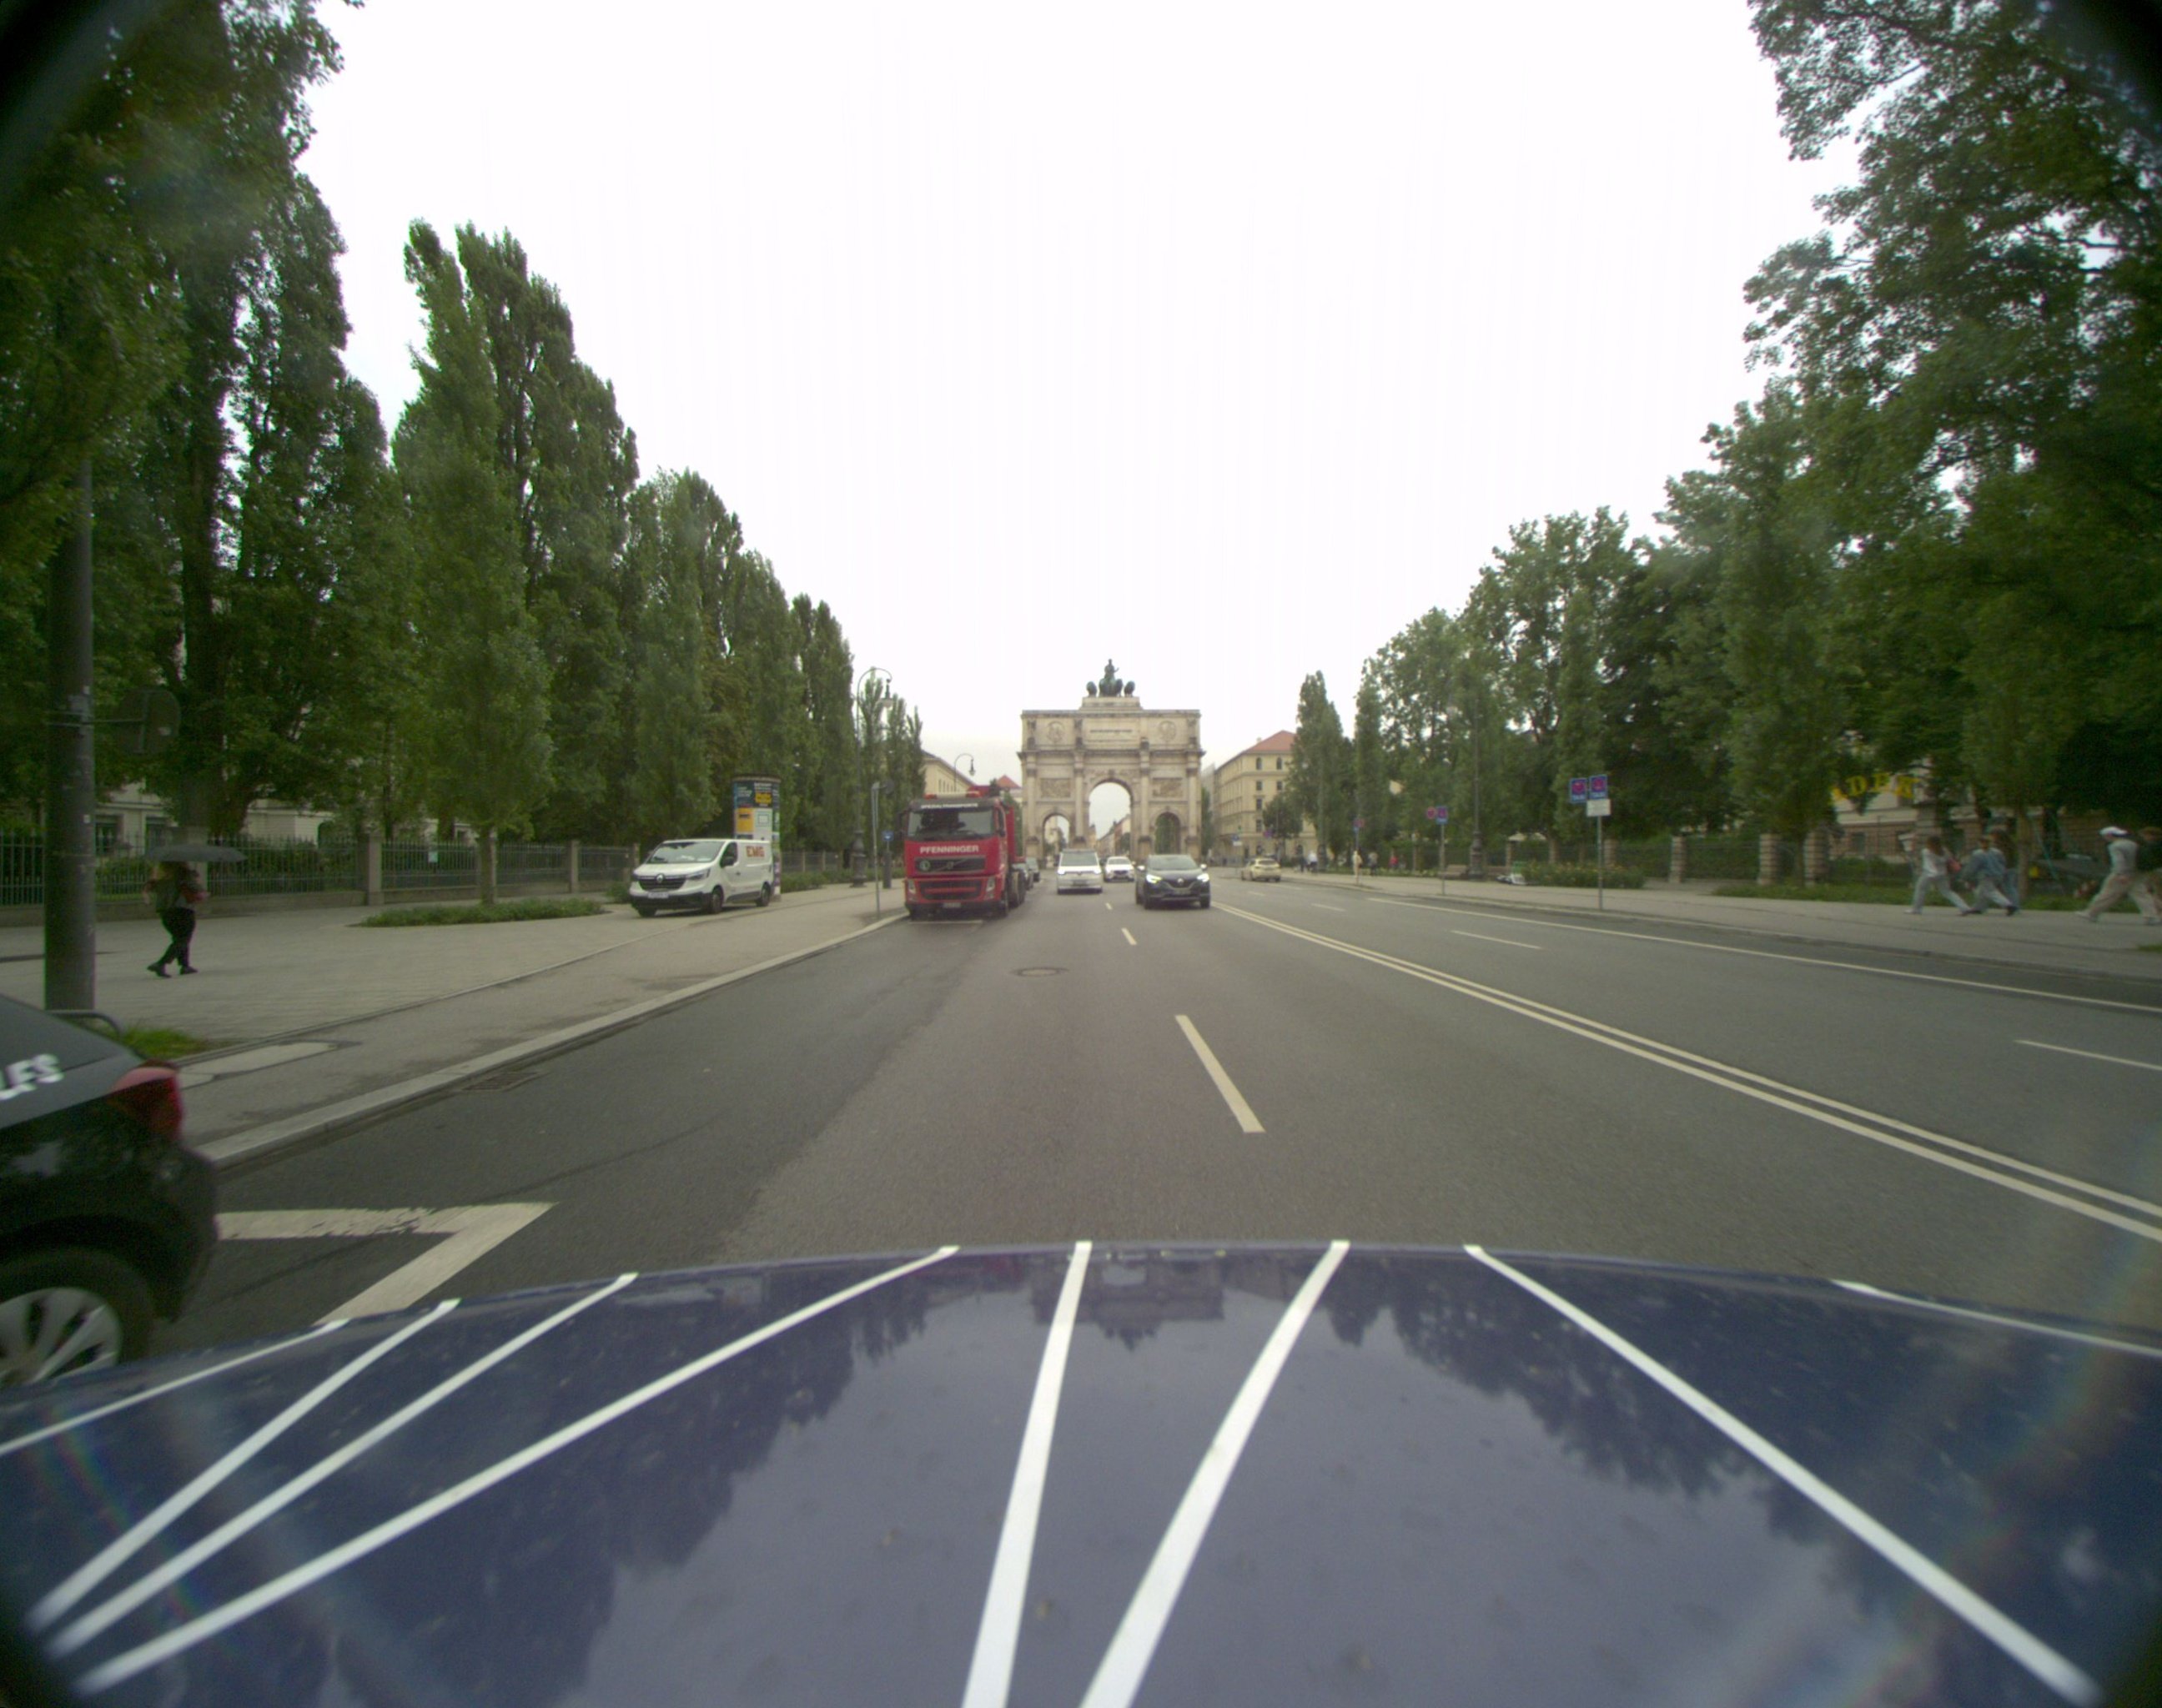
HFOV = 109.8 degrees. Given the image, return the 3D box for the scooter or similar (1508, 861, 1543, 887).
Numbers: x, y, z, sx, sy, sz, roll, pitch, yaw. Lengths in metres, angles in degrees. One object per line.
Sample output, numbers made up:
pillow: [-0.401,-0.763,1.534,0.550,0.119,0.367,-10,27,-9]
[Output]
scooter or similar: [21.150,0.936,36.142,0.747,1.171,1.415,1,0,-4]

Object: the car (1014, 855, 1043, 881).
car: [-3.506,0.910,51.063,1.847,1.597,4.366,-1,0,-4]

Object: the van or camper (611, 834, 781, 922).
van or camper: [-9.929,0.556,20.157,2.009,2.002,4.985,-2,0,-1]

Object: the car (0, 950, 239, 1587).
car: [-3.323,1.013,0.238,1.680,1.412,3.999,-1,0,-1]

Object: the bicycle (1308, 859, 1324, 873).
bicycle: [16.210,0.836,52.471,0.470,0.947,1.913,-2,0,-1]

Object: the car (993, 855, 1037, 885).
car: [-3.217,0.736,37.825,1.847,1.383,4.438,-1,0,-1]

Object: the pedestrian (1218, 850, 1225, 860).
pedestrian: [24.049,0.177,130.206,1.032,1.812,0.882,0,1,8]

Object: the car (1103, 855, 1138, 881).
car: [2.435,0.819,46.369,1.909,1.516,4.011,-1,0,6]

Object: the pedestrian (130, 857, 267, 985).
pedestrian: [-11.534,0.851,9.963,0.774,1.599,0.840,-1,1,3]

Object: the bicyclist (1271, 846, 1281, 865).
bicyclist: [16.214,0.114,63.181,0.647,1.583,0.661,-2,1,-2]

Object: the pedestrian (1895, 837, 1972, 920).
pedestrian: [18.332,0.518,16.362,0.631,1.737,0.908,-1,1,0]

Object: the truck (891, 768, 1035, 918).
truck: [-3.161,-0.284,23.445,2.852,3.543,10.277,-1,0,-1]

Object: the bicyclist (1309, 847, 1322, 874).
bicyclist: [16.190,0.429,52.420,0.591,1.813,0.661,-2,1,-2]

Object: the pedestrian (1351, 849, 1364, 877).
pedestrian: [17.581,0.565,48.362,0.533,1.720,0.583,-1,1,-11]

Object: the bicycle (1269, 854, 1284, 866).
bicycle: [16.219,0.526,63.107,0.674,0.947,1.913,-2,0,-1]

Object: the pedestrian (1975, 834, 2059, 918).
pedestrian: [19.794,0.452,16.091,0.661,1.706,0.911,-1,1,0]

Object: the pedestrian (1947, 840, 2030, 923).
pedestrian: [19.084,0.561,15.996,0.689,1.690,0.885,-1,1,0]

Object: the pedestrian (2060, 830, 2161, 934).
pedestrian: [19.127,0.496,14.017,0.711,1.823,1.092,-2,1,-1]

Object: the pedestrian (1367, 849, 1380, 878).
pedestrian: [17.766,0.580,46.141,0.533,1.720,0.583,-1,1,-11]

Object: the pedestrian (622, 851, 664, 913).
pedestrian: [-12.121,0.766,21.040,0.718,1.684,0.755,-1,1,0]

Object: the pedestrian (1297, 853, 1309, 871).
pedestrian: [21.313,0.747,73.008,0.959,1.708,1.031,-2,1,12]

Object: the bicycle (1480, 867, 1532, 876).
bicycle: [22.746,0.922,40.666,2.219,0.450,1.339,-1,-1,-22]

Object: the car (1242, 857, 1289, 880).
car: [11.625,0.883,48.237,1.797,1.329,4.467,-1,1,-2]

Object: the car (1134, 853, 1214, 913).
car: [2.672,0.777,22.658,1.840,1.576,4.185,-1,0,0]

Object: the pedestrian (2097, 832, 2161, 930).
pedestrian: [19.855,0.479,14.039,0.711,1.762,1.092,-2,1,-1]

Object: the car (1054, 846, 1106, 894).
car: [0.015,0.634,33.859,2.064,1.916,5.728,-1,0,1]

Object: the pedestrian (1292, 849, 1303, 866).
pedestrian: [22.293,0.341,78.165,0.958,1.708,1.032,-1,1,22]
